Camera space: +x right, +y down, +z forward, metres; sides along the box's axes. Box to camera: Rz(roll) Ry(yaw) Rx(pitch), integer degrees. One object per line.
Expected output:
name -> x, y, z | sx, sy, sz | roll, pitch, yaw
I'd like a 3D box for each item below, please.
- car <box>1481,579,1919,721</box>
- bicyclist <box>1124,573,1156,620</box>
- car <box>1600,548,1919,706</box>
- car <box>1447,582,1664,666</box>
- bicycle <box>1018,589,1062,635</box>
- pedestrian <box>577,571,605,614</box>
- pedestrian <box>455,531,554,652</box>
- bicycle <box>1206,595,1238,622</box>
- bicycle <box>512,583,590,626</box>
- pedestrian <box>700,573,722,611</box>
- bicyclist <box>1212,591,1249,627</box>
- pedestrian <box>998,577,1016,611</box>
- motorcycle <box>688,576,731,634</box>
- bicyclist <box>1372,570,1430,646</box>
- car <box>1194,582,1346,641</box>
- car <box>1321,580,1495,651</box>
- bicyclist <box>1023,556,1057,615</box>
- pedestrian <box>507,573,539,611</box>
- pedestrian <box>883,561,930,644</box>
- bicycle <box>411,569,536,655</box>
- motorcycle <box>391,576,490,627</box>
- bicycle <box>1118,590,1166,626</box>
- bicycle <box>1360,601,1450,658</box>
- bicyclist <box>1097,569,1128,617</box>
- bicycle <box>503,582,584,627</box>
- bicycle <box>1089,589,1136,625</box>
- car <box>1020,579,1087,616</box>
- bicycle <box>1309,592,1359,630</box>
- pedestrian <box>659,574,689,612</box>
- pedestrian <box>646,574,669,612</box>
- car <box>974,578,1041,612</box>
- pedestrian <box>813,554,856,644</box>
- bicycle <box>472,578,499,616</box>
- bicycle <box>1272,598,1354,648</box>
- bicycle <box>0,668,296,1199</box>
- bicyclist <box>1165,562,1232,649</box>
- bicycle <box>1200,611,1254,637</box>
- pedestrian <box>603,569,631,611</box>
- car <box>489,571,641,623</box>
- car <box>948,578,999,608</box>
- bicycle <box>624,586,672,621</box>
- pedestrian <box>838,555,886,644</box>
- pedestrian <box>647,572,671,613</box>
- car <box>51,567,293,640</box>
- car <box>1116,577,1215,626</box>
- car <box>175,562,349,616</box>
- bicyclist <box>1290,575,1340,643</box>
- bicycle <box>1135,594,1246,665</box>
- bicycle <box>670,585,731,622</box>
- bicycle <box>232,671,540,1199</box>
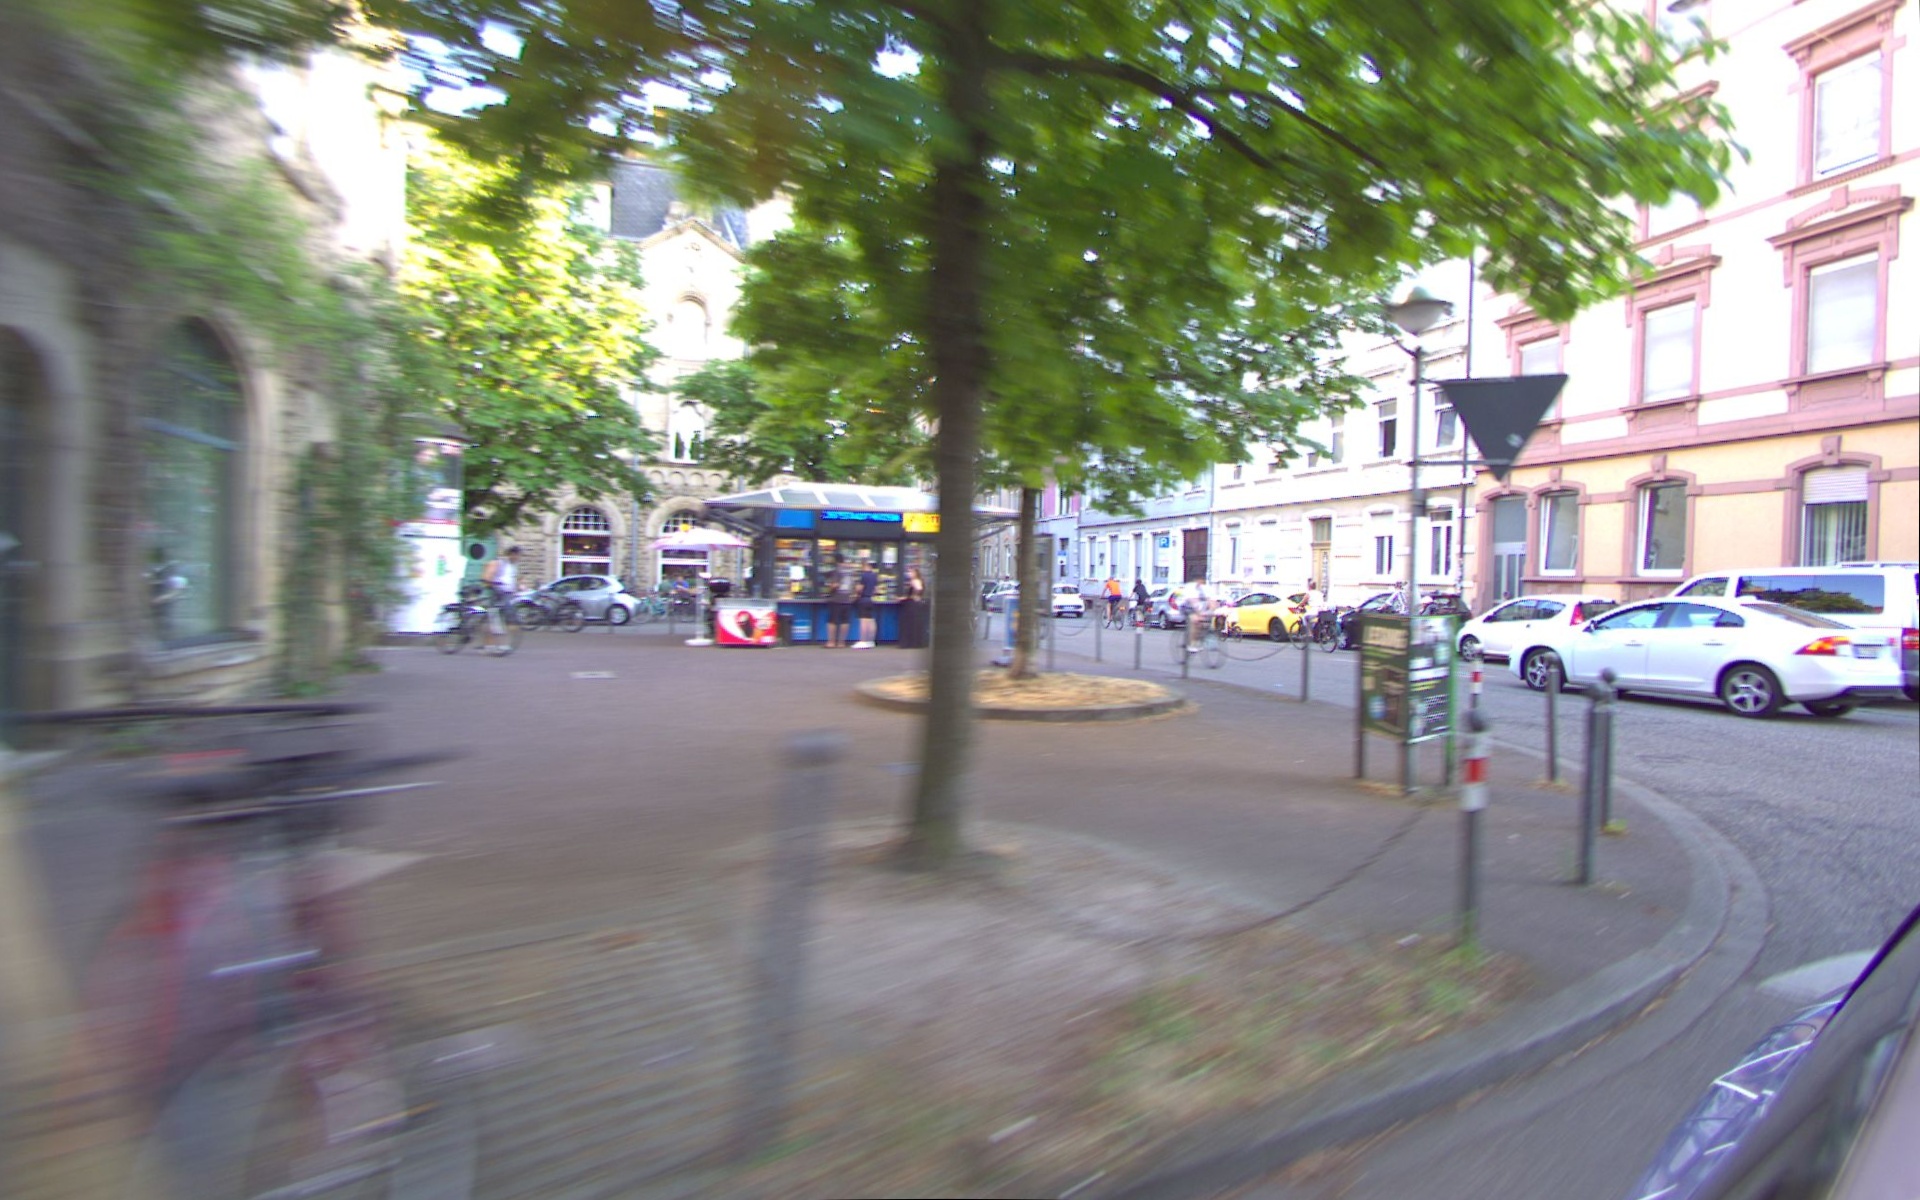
car -> 9.942, 0.517, 13.872 | 1.958, 1.535, 4.851 | 1, 1, -22
bicyclist -> 6.069, -0.129, 34.130 | 0.700, 1.545, 0.869 | 1, 1, -18
car -> 12.998, 0.283, 15.825 | 2.004, 2.082, 5.016 | -1, 2, -15
car -> 11.966, 0.404, 20.600 | 1.654, 1.510, 3.622 | -1, 2, -18
bicycle -> 2.108, 0.299, 26.949 | 0.672, 1.166, 2.119 | 1, 1, -9
pedestrian -> -12.591, -0.268, 34.551 | 0.883, 1.443, 0.716 | 1, 1, -19
pedestrian -> -7.165, -0.141, 15.945 | 0.994, 1.811, 0.973 | 2, 1, 23
bicycle -> 10.011, 0.321, 38.684 | 0.393, 0.989, 1.468 | 4, 0, -19
bicycle -> -9.968, 0.111, 24.704 | 1.702, 1.008, 0.580 | 1, 1, -15
pedestrian -> -8.838, -0.283, 35.884 | 0.699, 1.314, 0.766 | 1, 1, -18
bicyclist -> 7.479, 0.246, 28.016 | 0.635, 0.989, 0.731 | 1, 1, -25
pedestrian -> 2.749, -0.370, 59.632 | 0.834, 1.973, 0.835 | 1, 0, -12
motorcycle -> -5.430, 0.089, 21.887 | 0.852, 1.181, 1.886 | 1, 1, -15
bicyclist -> 9.286, 0.159, 21.327 | 0.664, 1.564, 0.877 | 1, 1, -18
car -> 8.953, 0.265, 29.688 | 1.806, 1.544, 4.812 | -1, 2, -18
car -> 10.603, 0.304, 24.221 | 1.698, 1.510, 3.751 | -1, 2, -20
bicyclist -> 2.128, -0.399, 26.907 | 0.672, 1.531, 0.974 | 1, 0, -9
pedestrian -> -14.767, -0.280, 34.227 | 0.907, 1.242, 0.824 | 1, 1, -19
pedestrian -> -1.027, 0.036, 19.460 | 0.589, 1.558, 0.667 | 2, 1, 44
bicycle -> -7.485, 0.160, 15.543 | 1.893, 1.202, 0.630 | 3, 1, 23
motorcycle -> -11.145, 0.029, 21.765 | 1.794, 1.067, 0.580 | 1, 1, -15
bicycle -> 6.101, 0.253, 34.021 | 0.708, 1.121, 2.019 | 1, 1, -18
bicycle -> 9.307, 0.599, 21.234 | 0.671, 1.108, 1.813 | 1, 1, -18
bicyclist -> 4.990, -0.227, 33.199 | 0.640, 1.545, 0.869 | 1, 1, -18
bicycle -> -9.838, 0.107, 23.949 | 1.702, 1.008, 0.580 | 1, 1, -15
bicycle -> 4.985, 0.207, 33.195 | 0.638, 1.121, 2.019 | 1, 1, -19
car -> 4.220, -0.147, 46.275 | 1.722, 1.595, 3.936 | -1, 1, -16
bicycle -> 11.759, 0.335, 31.912 | 0.471, 1.154, 1.867 | 1, 1, -15
pedestrian -> -10.113, -0.267, 35.791 | 0.704, 1.314, 0.761 | 1, 1, 13
pedestrian -> -10.655, -0.256, 35.627 | 0.699, 1.314, 0.766 | 1, 1, -23
car -> 2.336, -0.282, 51.117 | 1.800, 1.612, 4.683 | -1, 2, -18
pedestrian -> -2.367, -0.015, 19.041 | 0.664, 1.657, 0.592 | 1, 1, -17
bicycle -> -14.784, -0.103, 31.546 | 0.579, 1.152, 1.839 | 1, 1, -19
bicycle -> 8.498, 0.528, 24.450 | 0.714, 1.108, 2.052 | 1, 1, -19
bicycle -> -1.874, 0.774, 2.364 | 0.424, 1.052, 1.899 | 1, 1, -37
bicyclist -> 4.299, 0.090, 18.291 | 0.673, 1.531, 0.974 | 1, 1, -31
bicycle -> 7.408, 0.660, 28.153 | 0.638, 0.651, 1.466 | 1, 1, -25
pedestrian -> -11.831, -0.348, 34.916 | 0.883, 1.443, 0.716 | 1, 1, -19
car -> -11.538, -0.103, 29.804 | 3.952, 1.401, 1.889 | 1, 1, -14
car -> 0.726, -0.417, 57.137 | 1.722, 1.612, 4.066 | -1, 1, -16
bicycle -> -9.952, 0.099, 32.330 | 0.582, 1.091, 1.827 | 1, 1, 14
pedestrian -> -1.864, -0.015, 19.331 | 0.589, 1.657, 0.667 | 2, 1, 44
pedestrian -> -10.253, -0.261, 34.494 | 0.699, 1.379, 0.822 | 1, 1, -13
car -> -17.308, 0.034, 22.443 | 3.825, 1.502, 1.830 | -1, 1, -16
car -> 7.215, 0.003, 35.912 | 1.768, 1.612, 4.154 | -1, 1, -15
car -> -20.329, -0.346, 29.667 | 3.825, 1.502, 1.830 | -1, 1, -18
bicyclist -> 8.533, 0.201, 24.365 | 0.711, 1.603, 0.877 | 1, 1, -19
bicycle -> 4.173, 0.505, 18.491 | 0.673, 1.166, 2.117 | 1, 1, -32
bicycle -> -8.388, 0.110, 32.737 | 1.798, 1.176, 0.539 | 1, 1, -30
bicycle -> -1.422, 0.774, 2.367 | 0.424, 1.052, 1.607 | 1, 1, -37
